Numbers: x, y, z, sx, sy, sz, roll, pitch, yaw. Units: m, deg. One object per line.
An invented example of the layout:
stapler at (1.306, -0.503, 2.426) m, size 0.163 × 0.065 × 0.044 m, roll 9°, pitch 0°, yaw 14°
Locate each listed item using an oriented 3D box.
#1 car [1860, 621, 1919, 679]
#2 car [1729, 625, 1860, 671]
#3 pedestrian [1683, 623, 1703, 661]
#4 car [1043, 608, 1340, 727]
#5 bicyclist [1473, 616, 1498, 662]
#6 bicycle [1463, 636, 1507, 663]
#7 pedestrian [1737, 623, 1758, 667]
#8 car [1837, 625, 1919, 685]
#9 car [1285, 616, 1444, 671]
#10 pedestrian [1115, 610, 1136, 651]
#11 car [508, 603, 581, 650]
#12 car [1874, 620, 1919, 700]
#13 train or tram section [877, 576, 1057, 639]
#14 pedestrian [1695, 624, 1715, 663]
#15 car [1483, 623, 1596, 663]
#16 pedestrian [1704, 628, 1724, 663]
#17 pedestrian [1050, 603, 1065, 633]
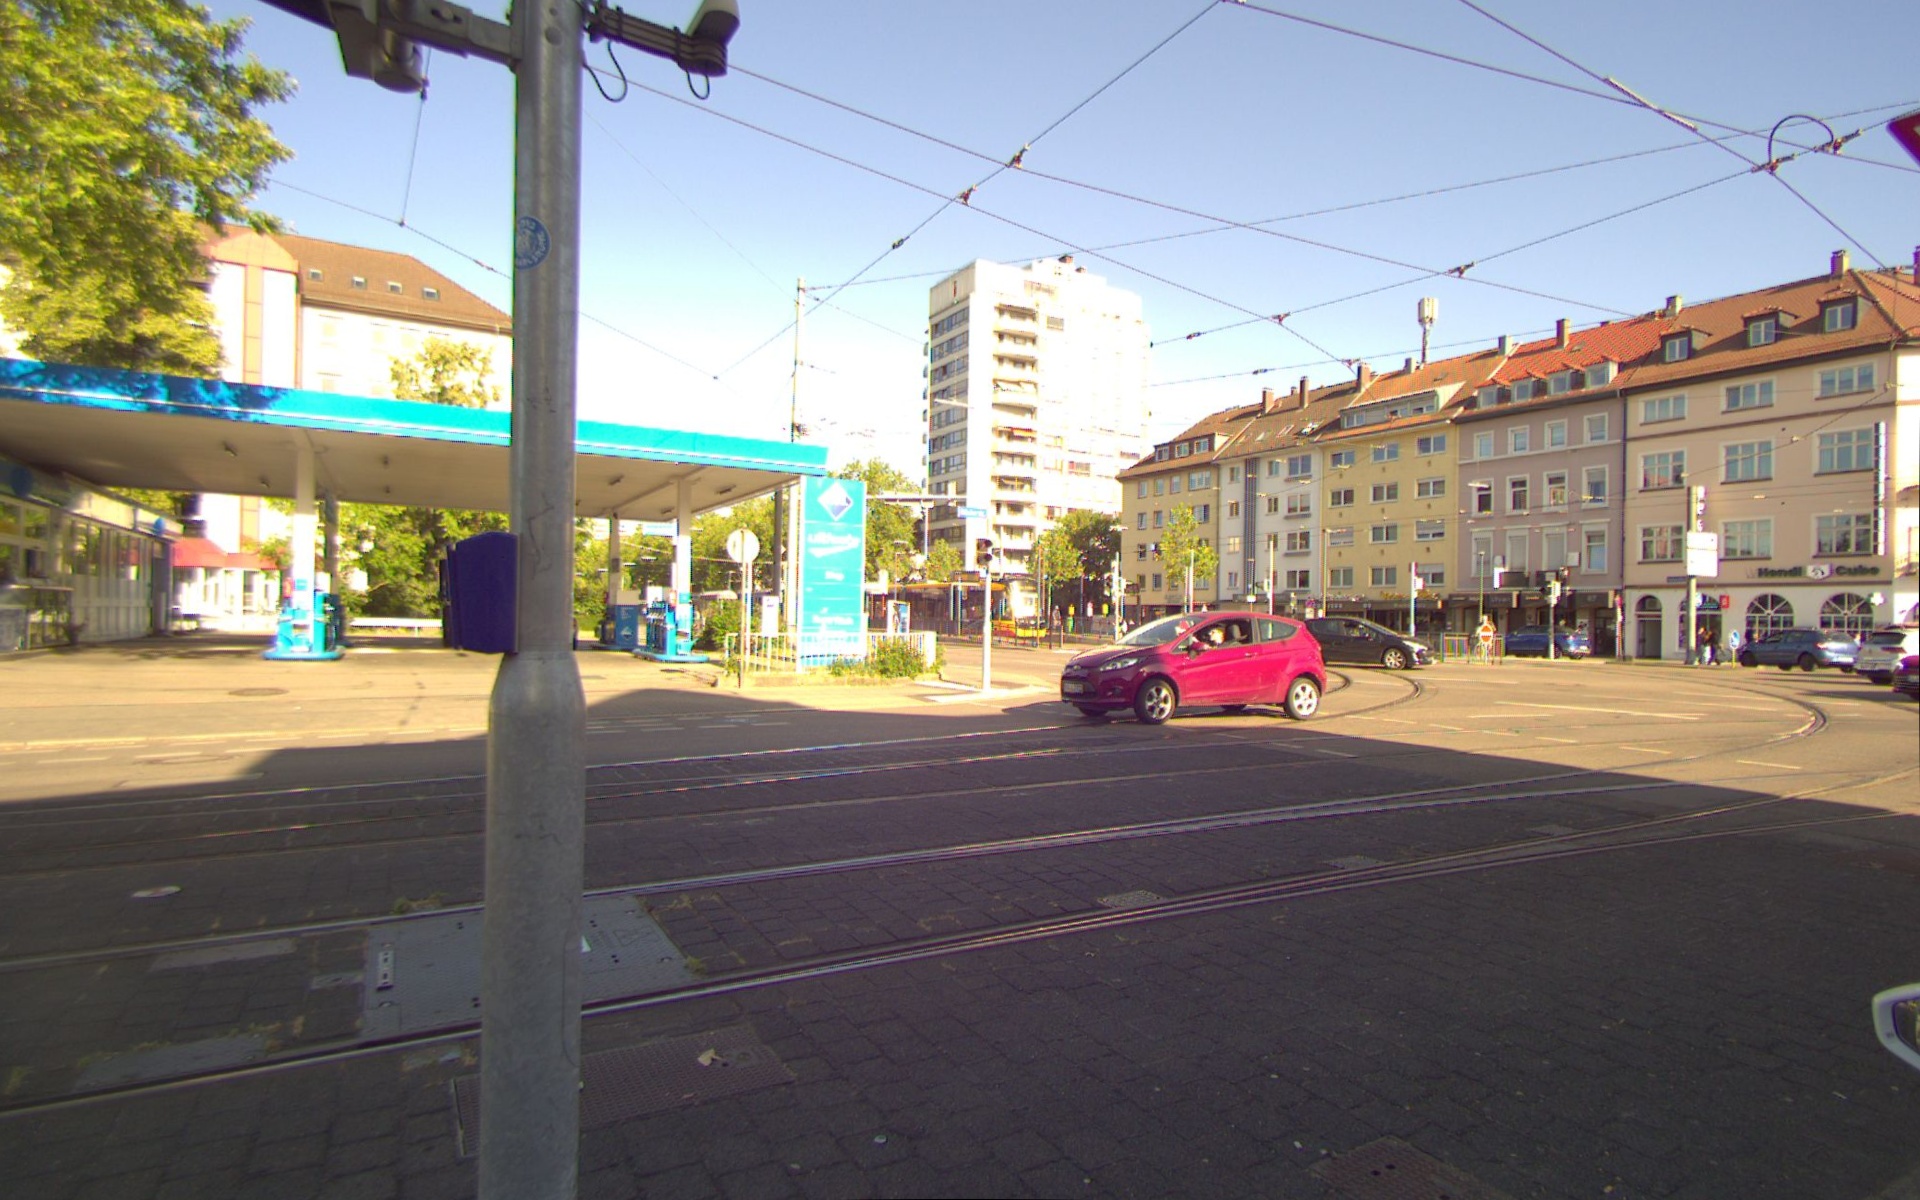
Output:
car at (28.561, 1.459, 29.296) m, size 4.393 × 1.623 × 1.863 m, roll 1°, pitch -2°, yaw -25°
car at (30.805, 1.742, 37.223) m, size 1.754 × 1.524 × 3.921 m, roll 0°, pitch 0°, yaw 3°
pedestrian at (32.925, 1.869, 45.125) m, size 0.492 × 1.670 × 0.520 m, roll 2°, pitch 0°, yaw -30°
car at (3.202, 0.854, 13.854) m, size 3.828 × 1.445 × 1.586 m, roll 1°, pitch 0°, yaw -24°
bicyclist at (21.222, 1.585, 40.541) m, size 0.606 × 1.814 × 0.619 m, roll 2°, pitch 0°, yaw -25°
bicycle at (21.184, 1.980, 40.525) m, size 1.731 × 1.044 × 0.619 m, roll 2°, pitch 0°, yaw -25°
pedestrian at (34.075, 1.934, 43.477) m, size 0.670 × 1.847 × 0.523 m, roll 2°, pitch 0°, yaw -37°
car at (24.510, 1.355, 24.648) m, size 4.143 × 1.408 × 1.735 m, roll 0°, pitch -1°, yaw 16°
car at (12.068, 1.243, 30.005) m, size 4.137 × 1.537 × 1.995 m, roll 0°, pitch -1°, yaw 33°
pedestrian at (6.747, 1.249, 41.026) m, size 0.750 × 1.631 × 0.613 m, roll 2°, pitch 0°, yaw 15°
car at (-13.536, 0.840, 32.636) m, size 1.659 × 1.372 × 3.559 m, roll 2°, pitch 0°, yaw -31°
car at (20.525, 1.150, 19.155) m, size 4.781 × 1.489 × 1.802 m, roll 0°, pitch 0°, yaw -4°
train or tram section at (-0.160, 0.324, 59.481) m, size 2.821 × 3.179 × 16.611 m, roll 2°, pitch 0°, yaw -29°
pedestrian at (33.097, 1.930, 44.635) m, size 0.492 × 1.670 × 0.520 m, roll 2°, pitch 0°, yaw -30°
car at (26.156, 1.911, 45.481) m, size 1.807 × 1.596 × 4.172 m, roll 1°, pitch 0°, yaw -25°
pedestrian at (33.124, 2.016, 44.111) m, size 0.550 × 1.512 × 0.489 m, roll 2°, pitch 0°, yaw -30°
pedestrian at (7.110, 1.286, 73.258) m, size 0.729 × 2.127 × 0.880 m, roll 2°, pitch 0°, yaw -21°
